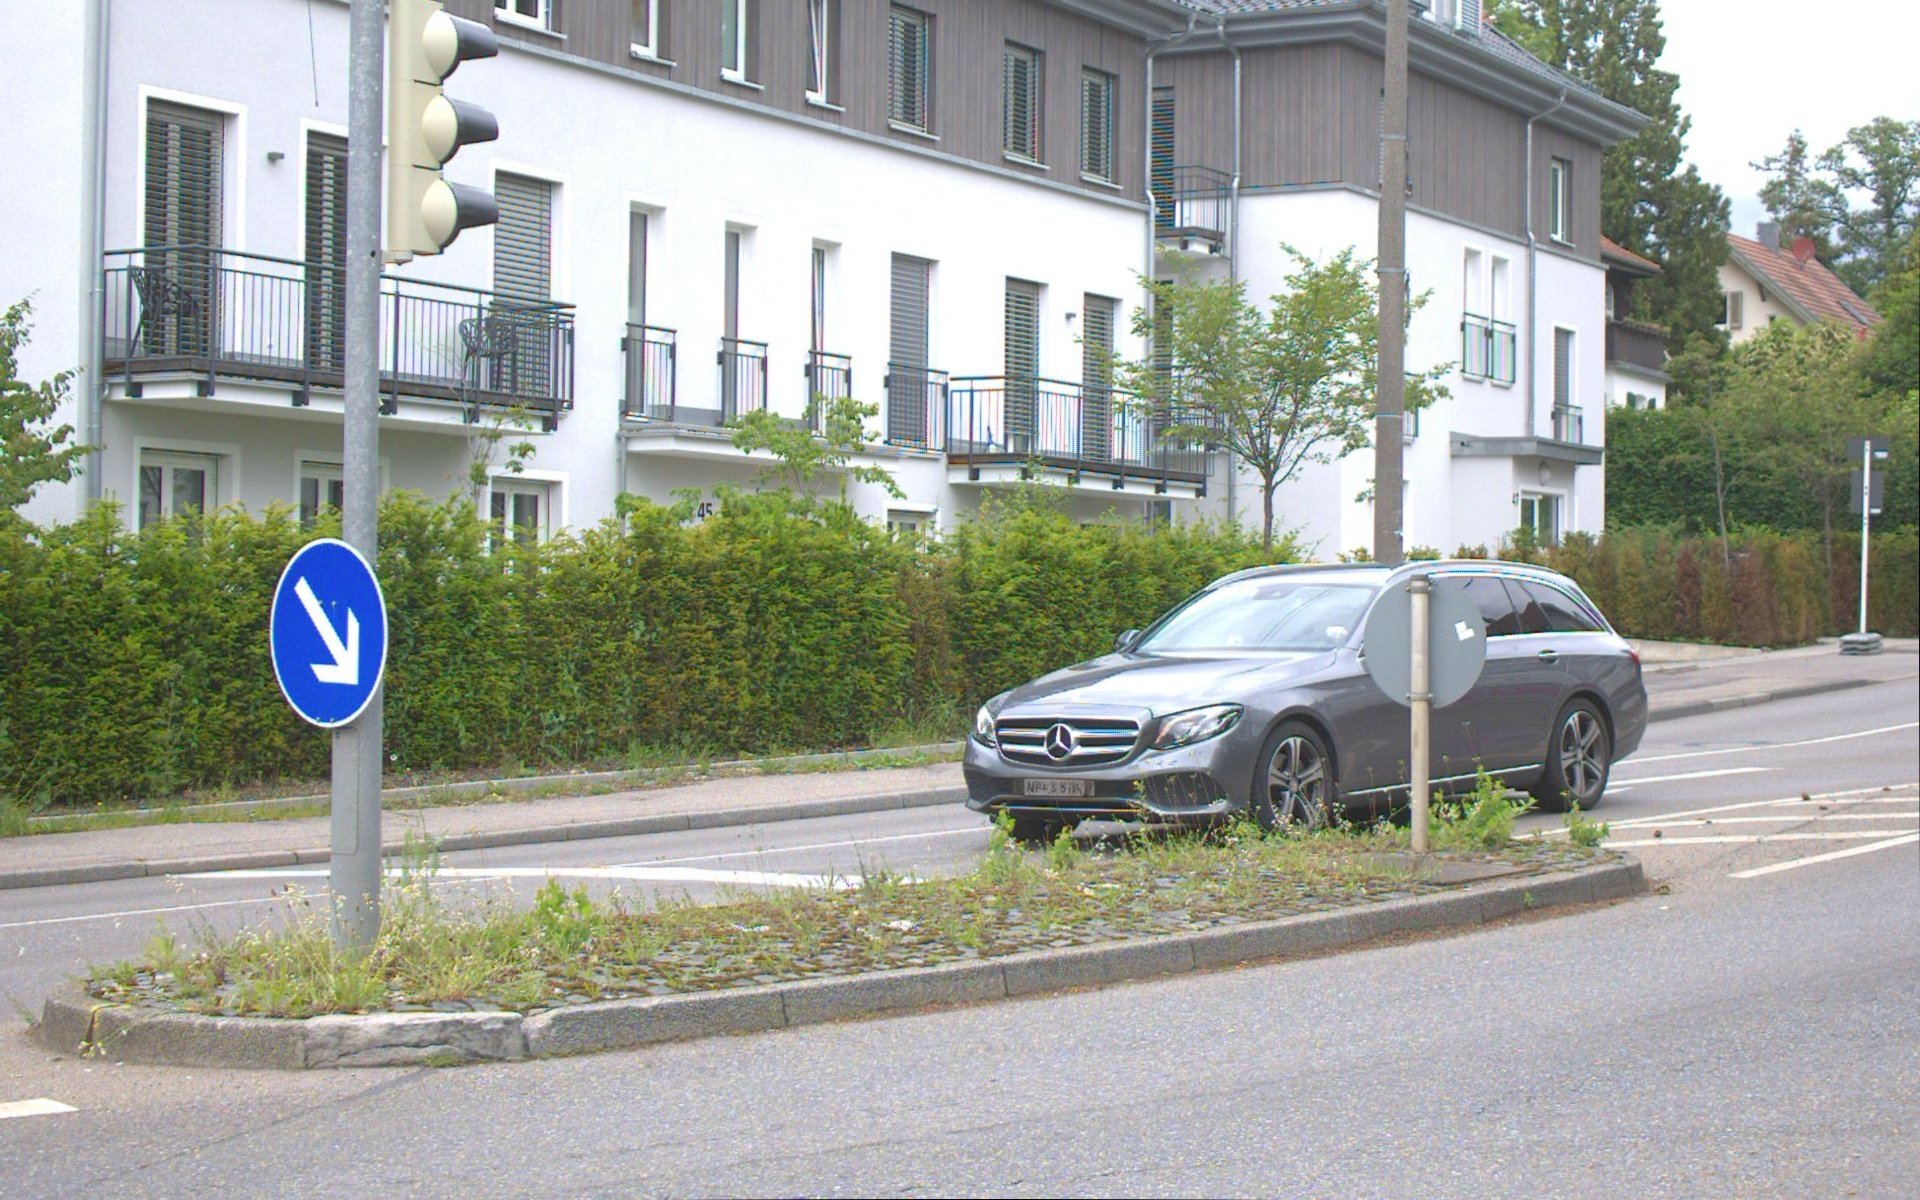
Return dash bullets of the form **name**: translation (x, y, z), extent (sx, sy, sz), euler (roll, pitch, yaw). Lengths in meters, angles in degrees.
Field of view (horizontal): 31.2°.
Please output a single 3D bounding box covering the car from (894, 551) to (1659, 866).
- **car**: translation (1.903, 0.513, 19.189), extent (1.830, 1.480, 4.737), euler (-1, 1, 41)
